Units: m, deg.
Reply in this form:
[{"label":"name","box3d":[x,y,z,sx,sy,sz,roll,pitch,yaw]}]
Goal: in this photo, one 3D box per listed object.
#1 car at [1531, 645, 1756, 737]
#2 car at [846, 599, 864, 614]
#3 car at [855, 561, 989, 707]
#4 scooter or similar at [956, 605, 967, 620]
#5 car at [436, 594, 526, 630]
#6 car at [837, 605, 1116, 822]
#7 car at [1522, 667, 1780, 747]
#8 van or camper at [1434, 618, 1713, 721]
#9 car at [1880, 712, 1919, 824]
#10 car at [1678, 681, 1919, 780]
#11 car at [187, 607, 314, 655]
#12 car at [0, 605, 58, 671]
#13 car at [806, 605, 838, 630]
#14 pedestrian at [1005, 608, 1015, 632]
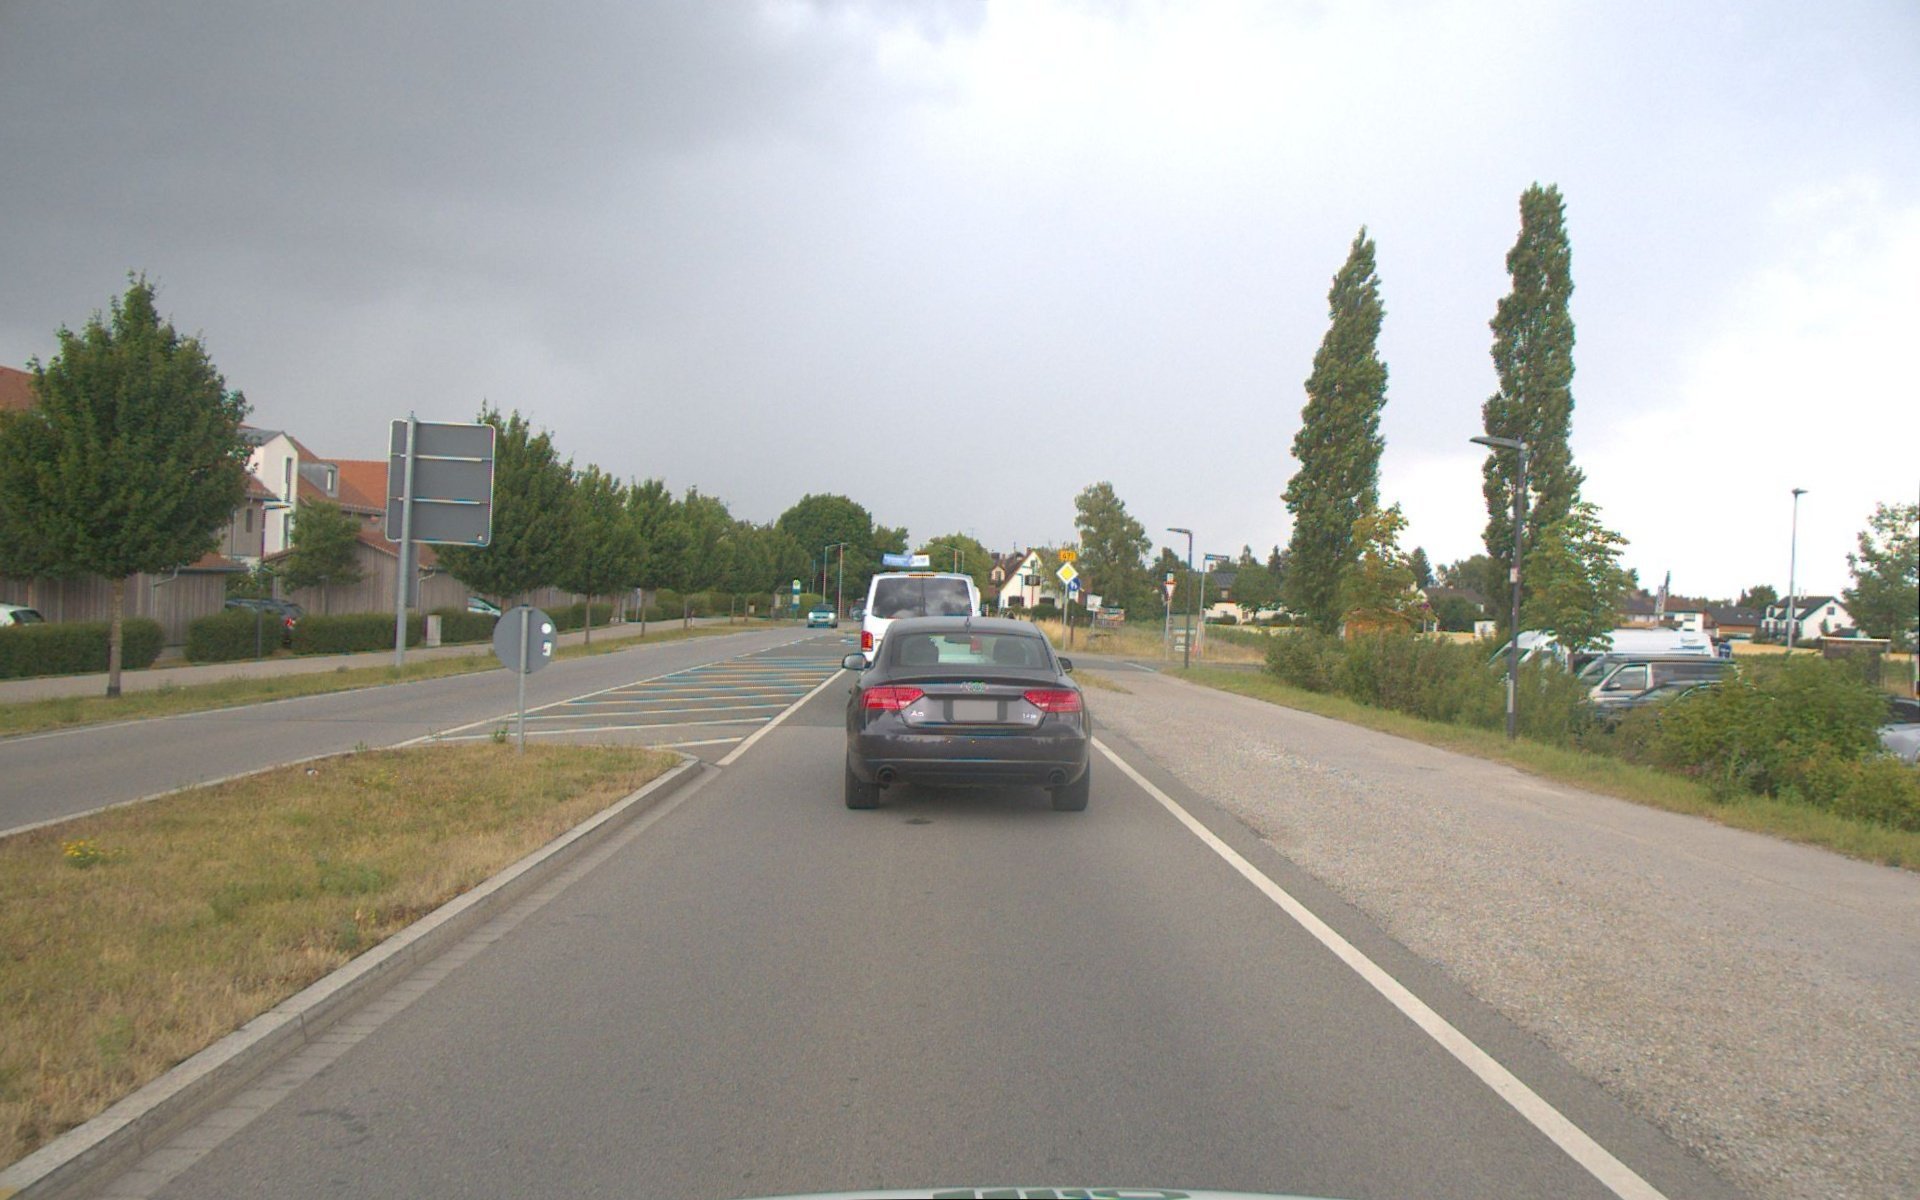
[{"label":"car","box3d":[16.095,2.120,39.079,4.501,2.049,1.999,0,0,-3]},{"label":"car","box3d":[-10.678,0.629,168.427,1.620,1.454,3.601,0,0,-2]},{"label":"car","box3d":[-0.620,0.475,25.172,1.789,1.947,3.998,3,0,-3]},{"label":"scooter or similar","box3d":[0.121,0.942,127.381,0.831,1.123,1.094,0,0,-1]},{"label":"car","box3d":[-24.351,0.625,84.164,3.906,1.583,2.000,3,0,0]},{"label":"car","box3d":[-0.044,0.765,13.305,1.790,1.413,4.382,0,0,-6]},{"label":"car","box3d":[15.143,2.331,36.373,4.994,1.626,1.757,0,0,-3]},{"label":"van or camper","box3d":[15.615,1.757,42.300,6.338,2.507,2.280,0,0,-4]},{"label":"car","box3d":[16.018,2.498,24.345,4.064,1.565,1.675,0,0,-3]},{"label":"car","box3d":[15.546,2.349,30.093,4.064,1.626,2.079,0,0,-3]},{"label":"car","box3d":[-23.161,0.990,54.053,3.443,1.515,1.563,0,0,-2]},{"label":"car","box3d":[-23.744,0.888,39.573,3.443,1.515,1.563,0,0,-2]},{"label":"car","box3d":[-8.590,1.068,103.107,1.734,1.469,3.999,0,0,-1]},{"label":"pedestrian","box3d":[3.197,1.284,105.493,0.611,1.551,0.679,0,0,-2]}]
